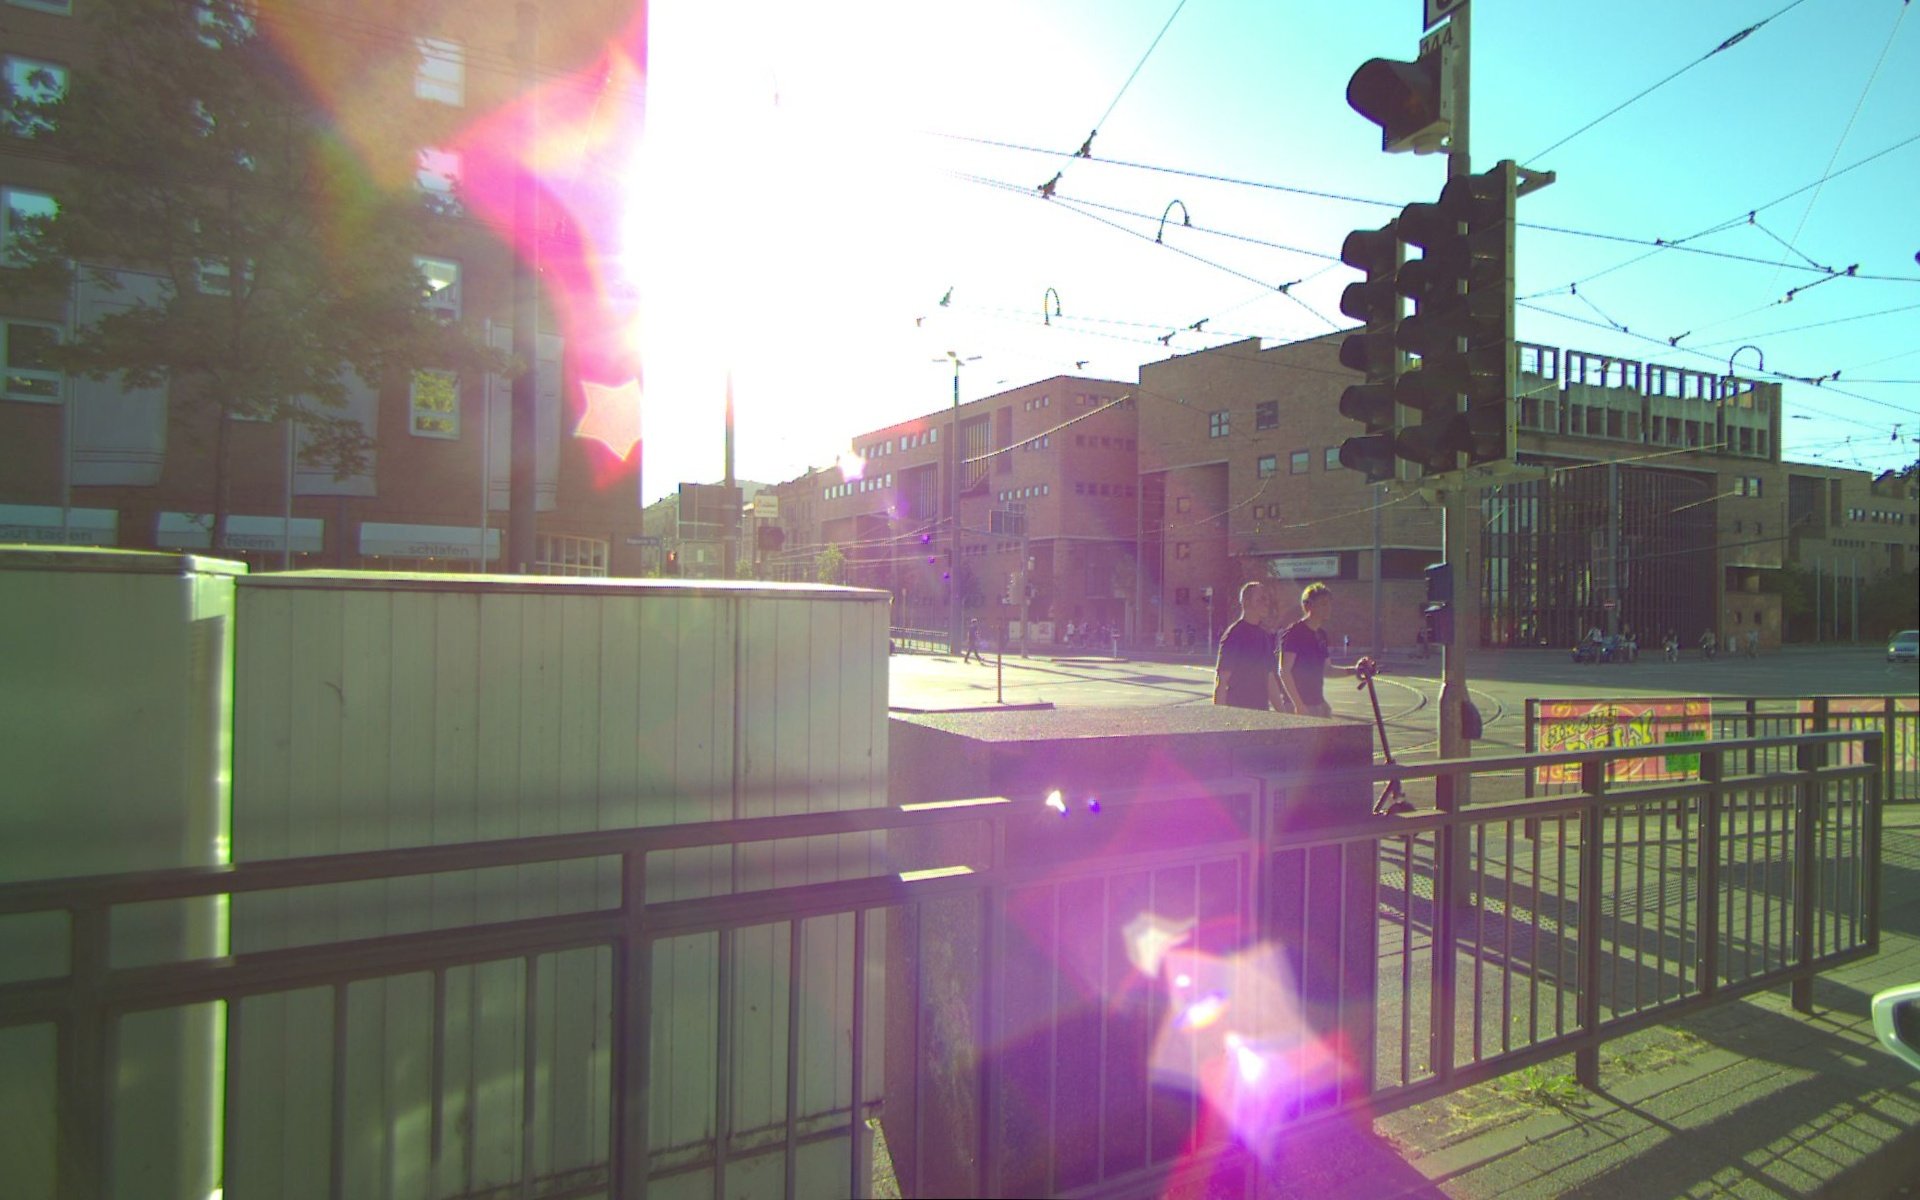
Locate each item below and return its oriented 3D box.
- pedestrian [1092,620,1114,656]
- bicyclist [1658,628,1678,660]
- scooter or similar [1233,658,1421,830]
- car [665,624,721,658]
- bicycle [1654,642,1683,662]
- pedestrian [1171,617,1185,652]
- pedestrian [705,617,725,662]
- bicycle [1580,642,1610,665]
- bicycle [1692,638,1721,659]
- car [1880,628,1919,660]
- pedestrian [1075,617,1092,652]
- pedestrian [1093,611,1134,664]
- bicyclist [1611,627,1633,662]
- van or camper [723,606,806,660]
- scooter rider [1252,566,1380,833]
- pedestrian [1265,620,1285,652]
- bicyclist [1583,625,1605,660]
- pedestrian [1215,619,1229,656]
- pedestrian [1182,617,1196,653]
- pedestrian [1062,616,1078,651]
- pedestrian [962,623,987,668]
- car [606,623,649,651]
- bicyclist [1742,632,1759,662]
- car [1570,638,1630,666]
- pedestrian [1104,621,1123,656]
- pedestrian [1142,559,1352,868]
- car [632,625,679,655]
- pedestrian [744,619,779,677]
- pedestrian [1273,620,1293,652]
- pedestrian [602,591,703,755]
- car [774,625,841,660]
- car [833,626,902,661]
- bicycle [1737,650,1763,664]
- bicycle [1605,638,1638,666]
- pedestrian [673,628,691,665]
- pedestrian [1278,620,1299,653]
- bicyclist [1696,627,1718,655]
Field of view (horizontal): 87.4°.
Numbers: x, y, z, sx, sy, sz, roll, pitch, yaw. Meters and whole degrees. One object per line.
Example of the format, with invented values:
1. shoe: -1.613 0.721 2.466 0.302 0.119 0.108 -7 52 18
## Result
1. pedestrian: 8.124 2.162 57.111 0.917 2.010 0.780 1 -1 -32
2. bicyclist: 35.945 2.237 50.985 0.752 1.590 0.656 1 -2 -37
3. scooter or similar: 2.659 0.998 7.378 0.639 1.095 1.199 1 -1 -25
4. car: -14.430 2.203 54.114 1.739 1.750 3.963 1 -2 -33
5. bicycle: 35.959 2.623 50.958 1.884 1.011 0.688 1 -2 -37
6. pedestrian: 12.694 2.016 58.544 0.603 2.040 0.731 0 -1 30
7. pedestrian: -11.170 1.784 45.814 0.597 2.040 0.848 1 -1 -38
8. bicycle: 29.618 2.475 46.833 1.886 1.011 0.647 2 -2 -41
9. bicycle: 39.383 2.563 52.980 1.993 1.064 0.647 2 -1 -35
10. car: 48.941 2.252 51.715 3.962 1.598 1.610 1 -2 -36
11. pedestrian: 7.219 1.998 58.730 0.644 2.040 0.780 1 -1 -32
12. pedestrian: 6.081 1.474 39.751 1.193 2.040 1.028 2 0 -30
13. bicyclist: 30.333 2.039 46.041 0.752 1.581 0.676 1 -1 -40
14. van or camper: -9.390 1.565 47.912 1.981 2.451 4.980 1 -2 -36
15. scooter rider: 2.644 0.716 7.477 0.670 1.877 0.564 3 -2 -25
16. pedestrian: 20.478 2.322 65.308 0.841 2.079 1.001 1 -1 -32
17. bicyclist: 29.459 1.977 46.692 0.752 1.595 0.655 1 -2 -40
18. pedestrian: 14.542 2.077 55.804 0.603 2.040 0.731 0 -1 30
19. pedestrian: 13.276 2.020 58.207 0.603 2.040 0.731 0 -1 30
20. pedestrian: 6.460 1.976 58.900 0.607 2.040 0.727 1 -1 -32
21. pedestrian: 0.609 1.876 41.544 0.797 1.801 0.623 2 0 -30
22. car: -21.623 2.378 65.284 1.738 1.750 3.965 1 -2 -32
23. bicyclist: 44.455 2.633 56.487 0.509 1.647 0.583 1 -1 -34
24. car: 33.275 2.676 52.198 3.684 1.394 1.568 2 -2 -39
25. pedestrian: 8.814 2.185 57.595 0.742 2.010 0.780 1 -1 -32
26. pedestrian: 1.943 0.720 6.931 0.843 1.908 1.164 1 -1 -25
27. car: -18.302 2.358 60.232 1.738 1.750 3.965 1 -2 -32
28. pedestrian: -6.203 1.496 31.458 0.860 1.775 0.670 1 -2 -39
29. pedestrian: 21.275 2.356 66.191 0.841 2.079 1.001 1 -1 -32
30. pedestrian: -3.621 0.821 11.781 0.945 1.822 0.986 2 0 -26
31. car: -7.807 2.142 51.178 1.978 1.709 3.965 1 -2 -33
32. car: -4.816 2.235 51.803 1.978 1.709 3.965 1 -2 -33
33. bicycle: 44.385 3.193 56.431 1.948 0.781 0.586 1 -2 -35
34. bicycle: 30.307 2.385 46.015 2.093 1.157 0.679 -1 0 -40
35. pedestrian: -13.910 2.316 50.280 0.597 1.843 0.848 1 -1 -38
36. pedestrian: 21.079 2.321 64.419 0.841 2.079 1.001 1 -1 -32
37. bicyclist: 39.464 2.163 53.040 1.022 1.494 0.649 2 -1 -35
